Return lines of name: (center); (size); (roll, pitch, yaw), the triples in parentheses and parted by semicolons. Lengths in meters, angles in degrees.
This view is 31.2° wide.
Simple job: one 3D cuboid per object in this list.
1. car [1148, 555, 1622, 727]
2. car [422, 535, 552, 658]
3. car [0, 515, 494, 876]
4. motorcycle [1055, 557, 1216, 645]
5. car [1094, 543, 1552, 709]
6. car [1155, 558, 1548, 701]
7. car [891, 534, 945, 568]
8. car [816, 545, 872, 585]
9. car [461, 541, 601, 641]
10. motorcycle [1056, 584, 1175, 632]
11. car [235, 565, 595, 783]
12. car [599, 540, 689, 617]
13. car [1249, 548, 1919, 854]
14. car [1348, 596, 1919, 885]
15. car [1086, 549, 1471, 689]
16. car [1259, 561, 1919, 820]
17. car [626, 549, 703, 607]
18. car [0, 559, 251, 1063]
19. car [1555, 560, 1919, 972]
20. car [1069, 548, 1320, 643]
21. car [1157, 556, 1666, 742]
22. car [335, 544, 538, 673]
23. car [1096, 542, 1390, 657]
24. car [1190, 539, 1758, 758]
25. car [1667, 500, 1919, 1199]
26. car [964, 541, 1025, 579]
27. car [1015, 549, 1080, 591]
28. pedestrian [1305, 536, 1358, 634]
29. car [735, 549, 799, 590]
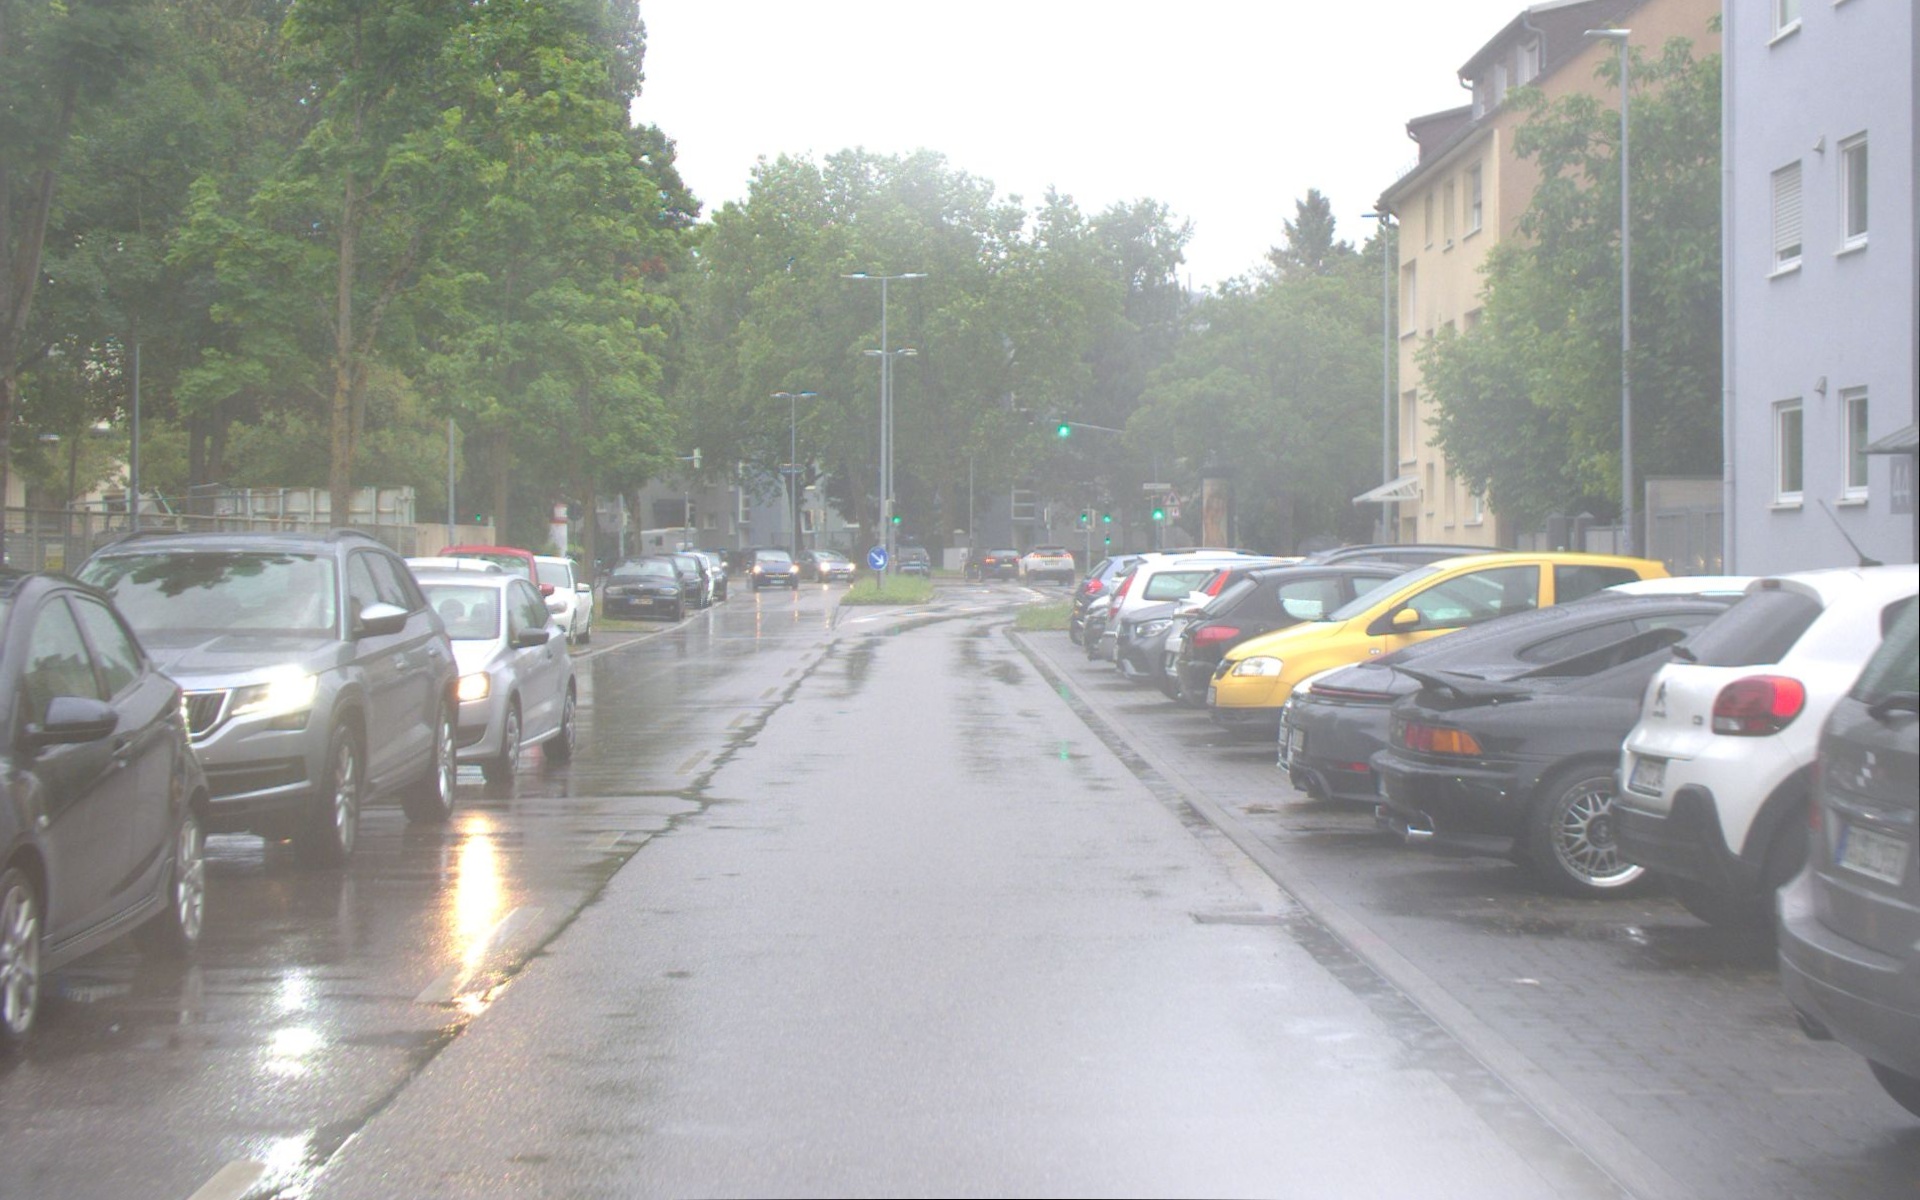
car: (3.822, 0.351, 31.493); (4.097, 1.453, 2.000); (1, 1, 1)
car: (-6.478, -0.062, 47.378); (1.624, 1.593, 4.202); (1, 0, -6)
car: (-3.804, 0.416, 18.274); (1.914, 1.634, 4.821); (1, 0, 1)
motorcycle: (2.744, 0.015, 53.928); (2.398, 1.319, 0.920); (1, 0, -5)
car: (3.586, 0.245, 34.628); (4.341, 1.547, 2.040); (1, 0, -1)
car: (4.182, 0.302, 37.177); (3.987, 1.407, 1.845); (1, 1, -1)
car: (-1.923, -2.237, 156.397); (1.849, 1.519, 4.001); (0, 1, -10)
car: (-4.972, -1.503, 146.926); (1.740, 1.683, 4.001); (1, 0, -11)
car: (-6.900, -0.157, 55.694); (1.768, 1.523, 4.598); (1, 0, -1)
motorcycle: (2.785, 0.141, 61.431); (2.073, 0.790, 0.710); (1, 1, 6)
car: (-3.747, 0.457, 24.316); (1.672, 1.378, 4.252); (0, 1, 3)
car: (-6.983, -0.489, 75.719); (1.775, 1.524, 4.001); (1, 2, -8)
car: (3.726, 0.512, 18.384); (4.143, 1.481, 2.013); (1, 0, -1)
car: (3.814, 0.613, 15.845); (3.854, 1.203, 1.956); (1, 1, 1)
car: (3.649, 0.195, 39.591); (4.270, 1.449, 1.984); (1, 2, 5)
car: (4.225, 0.527, 21.008); (4.628, 1.431, 2.000); (1, 0, 1)
car: (-7.752, -0.594, 90.518); (1.928, 1.479, 4.001); (0, 1, -4)
car: (-3.671, 0.595, 11.431); (1.779, 1.415, 4.265); (0, 1, -1)
car: (4.399, 0.595, 13.186); (3.853, 1.449, 1.837); (1, 1, -2)
car: (3.844, -0.081, 56.809); (3.987, 1.456, 1.935); (1, 0, 0)
car: (3.731, 0.390, 28.886); (3.987, 1.437, 1.782); (1, 0, -1)
car: (-6.341, 0.082, 42.011); (1.661, 1.455, 4.173); (1, 0, 2)
car: (4.035, -0.014, 49.474); (3.986, 1.547, 1.905); (1, 0, -2)
car: (3.856, 0.352, 26.276); (3.986, 1.547, 1.853); (1, 0, -2)
car: (3.998, 0.606, 8.186); (4.181, 1.566, 1.890); (1, 0, -2)
car: (1.386, -1.641, 140.885); (1.849, 1.519, 4.155); (0, 1, -9)
car: (3.209, -1.105, 126.379); (1.849, 1.519, 4.001); (0, 1, -6)
pedestrian: (7.745, -0.321, 71.605); (1.011, 2.007, 0.952); (1, 0, 9)
car: (-7.194, -1.150, 128.059); (1.993, 1.480, 4.001); (1, 0, -8)
